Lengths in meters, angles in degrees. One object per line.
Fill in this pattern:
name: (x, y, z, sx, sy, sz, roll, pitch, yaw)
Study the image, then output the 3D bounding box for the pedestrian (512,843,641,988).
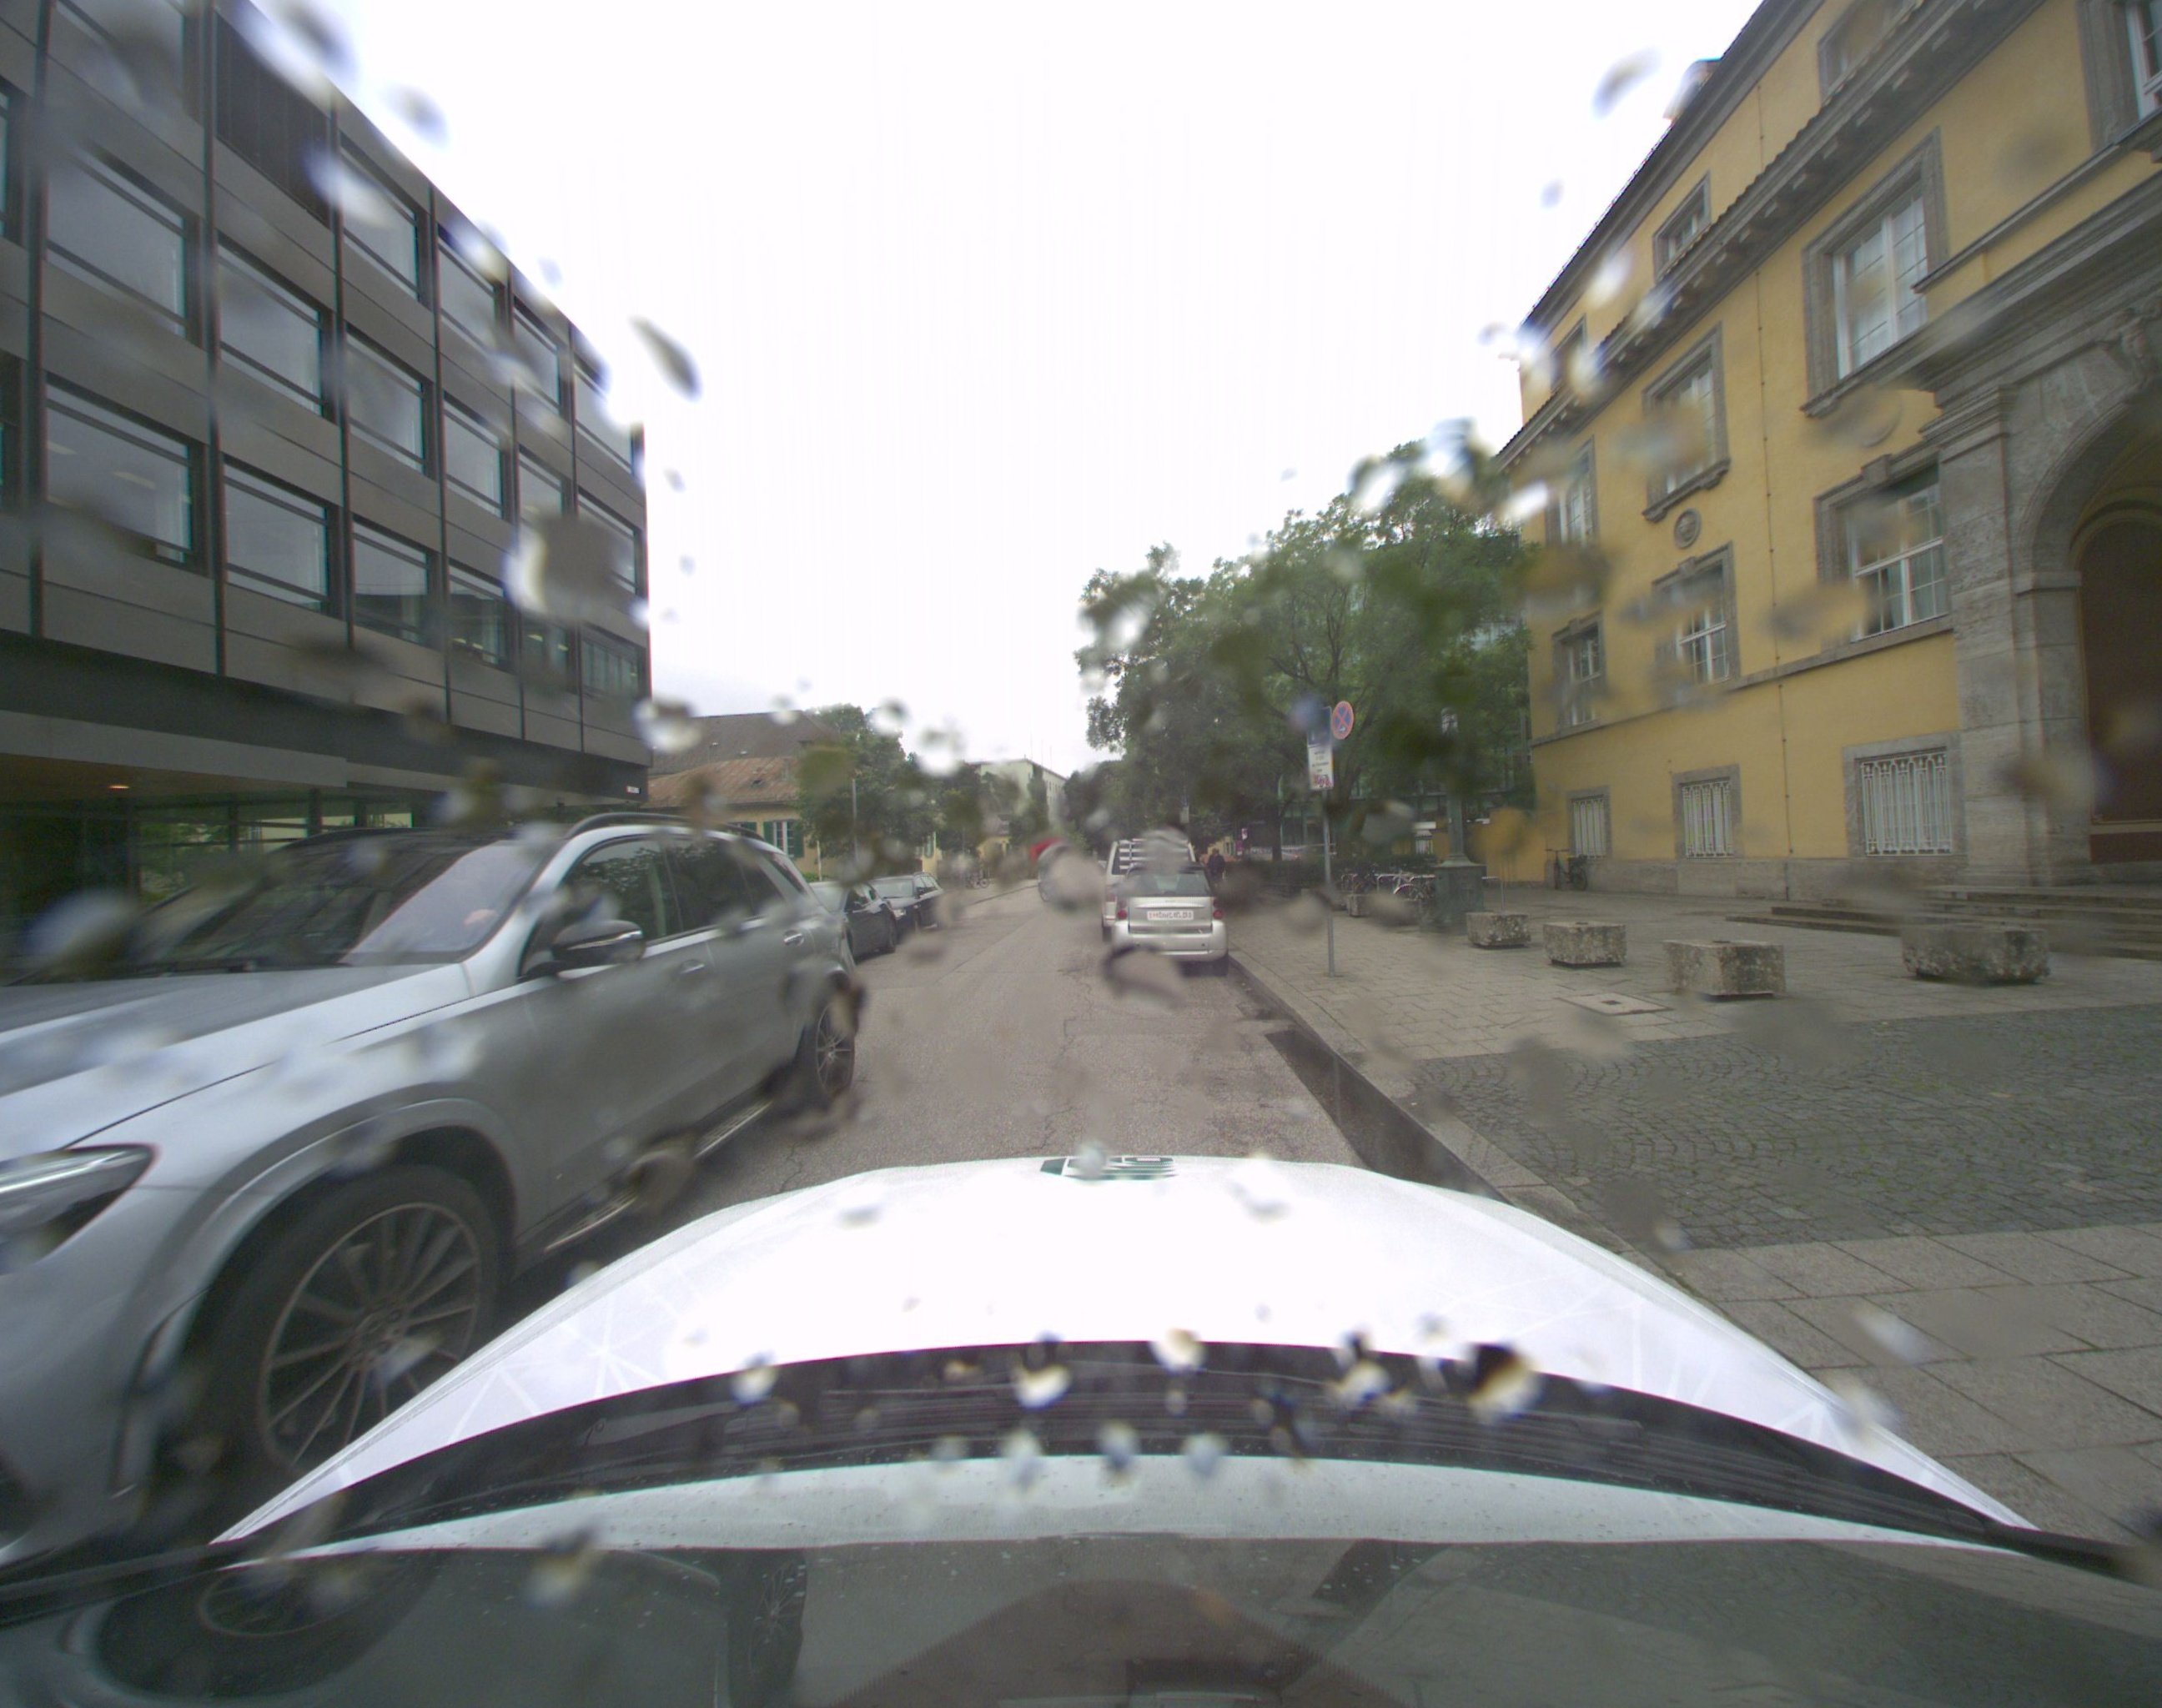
pedestrian: (-7.539, 0.887, 12.246, 1.131, 2.055, 1.221, -1, -1, 1)

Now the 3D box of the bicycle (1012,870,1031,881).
bicycle: (-5.447, 1.969, 74.965, 1.620, 0.926, 0.646, -2, -2, -22)

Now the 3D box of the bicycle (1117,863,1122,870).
bicycle: (5.611, 1.779, 118.495, 0.619, 1.004, 2.141, -3, -1, 2)

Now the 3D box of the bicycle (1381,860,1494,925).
bicycle: (6.896, 0.734, 15.790, 1.926, 1.113, 0.471, -4, -1, -1)

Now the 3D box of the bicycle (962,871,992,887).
bicycle: (-7.151, 1.723, 55.883, 1.921, 1.099, 0.615, 0, -1, 5)

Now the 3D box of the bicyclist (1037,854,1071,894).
bicyclist: (-1.059, 0.777, 31.651, 0.665, 1.498, 1.101, -5, -3, 43)

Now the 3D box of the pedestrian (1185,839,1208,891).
pedestrian: (4.969, 0.472, 34.989, 0.740, 2.135, 1.056, -3, -1, 2)

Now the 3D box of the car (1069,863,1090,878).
car: (-0.128, 1.848, 92.867, 1.985, 1.603, 4.004, -2, -2, 4)

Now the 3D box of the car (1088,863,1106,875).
car: (2.206, 1.962, 110.546, 1.983, 1.486, 4.008, -3, -1, 7)

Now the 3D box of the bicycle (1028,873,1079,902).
bicycle: (-1.050, 1.286, 31.621, 0.615, 1.004, 2.153, -5, -3, 44)

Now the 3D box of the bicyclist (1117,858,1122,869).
bicyclist: (5.588, 1.350, 118.416, 0.740, 1.576, 0.977, -3, -1, 2)

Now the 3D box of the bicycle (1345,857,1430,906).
bicycle: (7.822, 0.705, 20.819, 1.923, 1.113, 0.472, -4, -1, 3)

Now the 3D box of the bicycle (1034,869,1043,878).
bicycle: (-4.531, 2.079, 86.953, 0.618, 1.004, 1.622, -2, -2, 8)

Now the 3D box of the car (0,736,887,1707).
car: (-2.559, 0.723, 3.396, 2.016, 1.689, 4.682, -3, -1, 4)

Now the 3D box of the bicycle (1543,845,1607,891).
bicycle: (13.243, 0.351, 21.895, 0.540, 1.154, 1.902, -3, 0, 1)

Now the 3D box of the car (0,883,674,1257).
car: (-4.919, 1.054, 5.655, 1.732, 1.461, 4.241, -5, -1, 4)

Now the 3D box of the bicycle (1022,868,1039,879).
bicycle: (-5.102, 2.003, 82.464, 1.627, 1.004, 0.616, -3, -1, -40)

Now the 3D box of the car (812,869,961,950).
car: (-4.377, 1.196, 19.211, 1.985, 1.491, 4.887, -4, -1, 3)

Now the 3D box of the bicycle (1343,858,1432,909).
bicycle: (7.522, 0.718, 20.037, 1.923, 1.113, 0.472, -4, -1, 4)

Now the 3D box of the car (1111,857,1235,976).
car: (1.267, 0.825, 12.110, 1.599, 1.546, 2.935, 0, -1, 2)

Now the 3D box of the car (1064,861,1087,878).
car: (-0.543, 1.671, 87.685, 1.984, 1.648, 4.662, -2, -1, 5)

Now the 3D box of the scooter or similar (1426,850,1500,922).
scooter or similar: (6.798, 0.577, 14.502, 0.541, 1.222, 1.000, -3, -1, -43)

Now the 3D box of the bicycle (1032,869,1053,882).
bicycle: (-3.363, 1.861, 70.658, 0.615, 1.004, 2.154, 0, 0, 36)

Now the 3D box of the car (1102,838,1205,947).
car: (1.362, 0.708, 17.215, 1.838, 1.933, 5.274, 0, -1, 1)

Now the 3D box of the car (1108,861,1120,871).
car: (5.718, 2.082, 141.804, 1.802, 1.683, 4.005, -3, -1, 5)

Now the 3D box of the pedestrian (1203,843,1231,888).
pedestrian: (5.988, 0.515, 35.828, 0.735, 1.907, 1.062, -4, -1, 38)

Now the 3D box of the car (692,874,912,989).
car: (-4.440, 1.150, 13.946, 1.916, 1.439, 4.918, -4, -1, 1)

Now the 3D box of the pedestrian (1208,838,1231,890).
pedestrian: (5.885, 0.434, 34.619, 0.740, 2.135, 1.056, -3, -1, 2)

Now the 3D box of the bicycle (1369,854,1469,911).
bicycle: (7.362, 0.624, 17.777, 1.923, 1.113, 0.472, -4, -1, 4)

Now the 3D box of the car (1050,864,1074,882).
car: (-1.757, 1.691, 75.121, 1.725, 1.581, 3.793, 0, -1, 5)
